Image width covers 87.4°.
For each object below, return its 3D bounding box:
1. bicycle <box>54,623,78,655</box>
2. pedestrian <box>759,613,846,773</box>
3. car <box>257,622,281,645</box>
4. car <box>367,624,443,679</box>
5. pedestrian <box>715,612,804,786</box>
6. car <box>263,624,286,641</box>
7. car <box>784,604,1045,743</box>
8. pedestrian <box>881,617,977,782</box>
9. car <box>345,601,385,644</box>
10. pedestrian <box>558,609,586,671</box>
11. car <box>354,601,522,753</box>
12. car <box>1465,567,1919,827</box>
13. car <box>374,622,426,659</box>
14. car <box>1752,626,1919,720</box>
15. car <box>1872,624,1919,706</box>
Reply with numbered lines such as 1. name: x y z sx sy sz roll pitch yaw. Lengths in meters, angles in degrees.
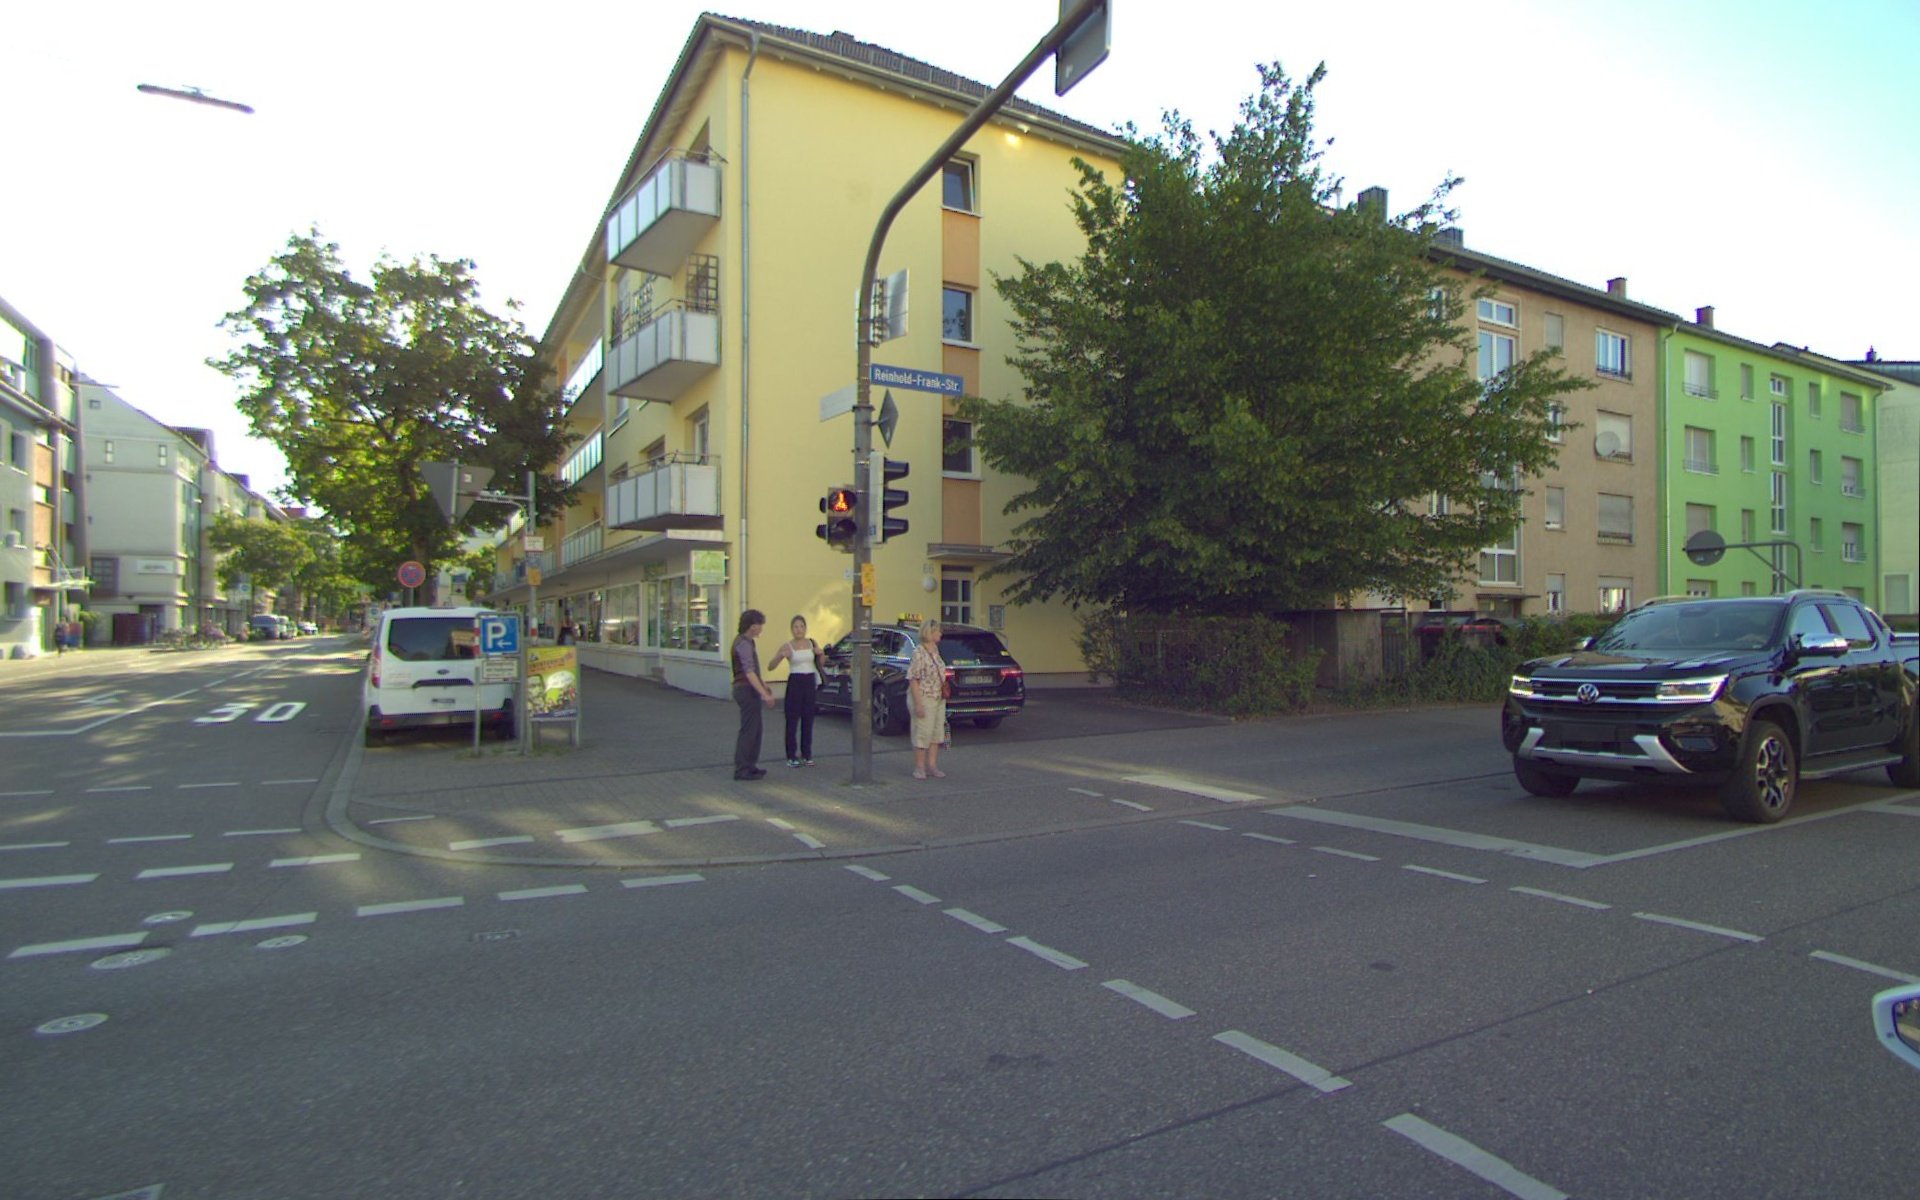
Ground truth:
1. bicycle: -37.630 1.662 42.286 0.591 1.316 0.427 4 -3 -32
2. pedestrian: -1.718 0.992 11.034 0.735 1.651 0.609 3 2 7
3. car: -54.334 2.643 78.978 1.377 1.764 2.797 1 -1 -31
4. car: -16.387 1.472 29.718 1.841 1.483 3.970 1 -1 -28
5. pedestrian: -2.042 0.968 10.219 0.604 1.679 0.741 1 -1 -41
6. car: -55.947 2.621 81.997 1.377 1.317 2.797 1 -1 -31
7. car: -0.855 0.922 14.724 1.823 1.635 4.565 1 0 -32
8. pedestrian: -0.319 0.995 10.361 0.742 1.615 0.603 2 0 -33
9. car: -34.546 1.306 58.381 1.841 2.390 3.970 1 -1 -29
10. pedestrian: -11.131 1.136 28.808 0.640 1.743 0.573 1 -1 -30
11. car: -7.714 0.999 14.755 1.885 1.872 4.452 1 -1 -30
12. car: 7.128 0.776 9.296 5.166 1.853 1.853 1 -3 -30
13. car: -23.546 1.679 42.323 1.841 1.483 3.970 1 -1 -28
14. car: 15.909 1.212 17.743 3.895 1.499 1.646 1 -1 -29
15. car: 20.046 1.272 20.204 3.745 1.572 1.628 1 -1 -33
